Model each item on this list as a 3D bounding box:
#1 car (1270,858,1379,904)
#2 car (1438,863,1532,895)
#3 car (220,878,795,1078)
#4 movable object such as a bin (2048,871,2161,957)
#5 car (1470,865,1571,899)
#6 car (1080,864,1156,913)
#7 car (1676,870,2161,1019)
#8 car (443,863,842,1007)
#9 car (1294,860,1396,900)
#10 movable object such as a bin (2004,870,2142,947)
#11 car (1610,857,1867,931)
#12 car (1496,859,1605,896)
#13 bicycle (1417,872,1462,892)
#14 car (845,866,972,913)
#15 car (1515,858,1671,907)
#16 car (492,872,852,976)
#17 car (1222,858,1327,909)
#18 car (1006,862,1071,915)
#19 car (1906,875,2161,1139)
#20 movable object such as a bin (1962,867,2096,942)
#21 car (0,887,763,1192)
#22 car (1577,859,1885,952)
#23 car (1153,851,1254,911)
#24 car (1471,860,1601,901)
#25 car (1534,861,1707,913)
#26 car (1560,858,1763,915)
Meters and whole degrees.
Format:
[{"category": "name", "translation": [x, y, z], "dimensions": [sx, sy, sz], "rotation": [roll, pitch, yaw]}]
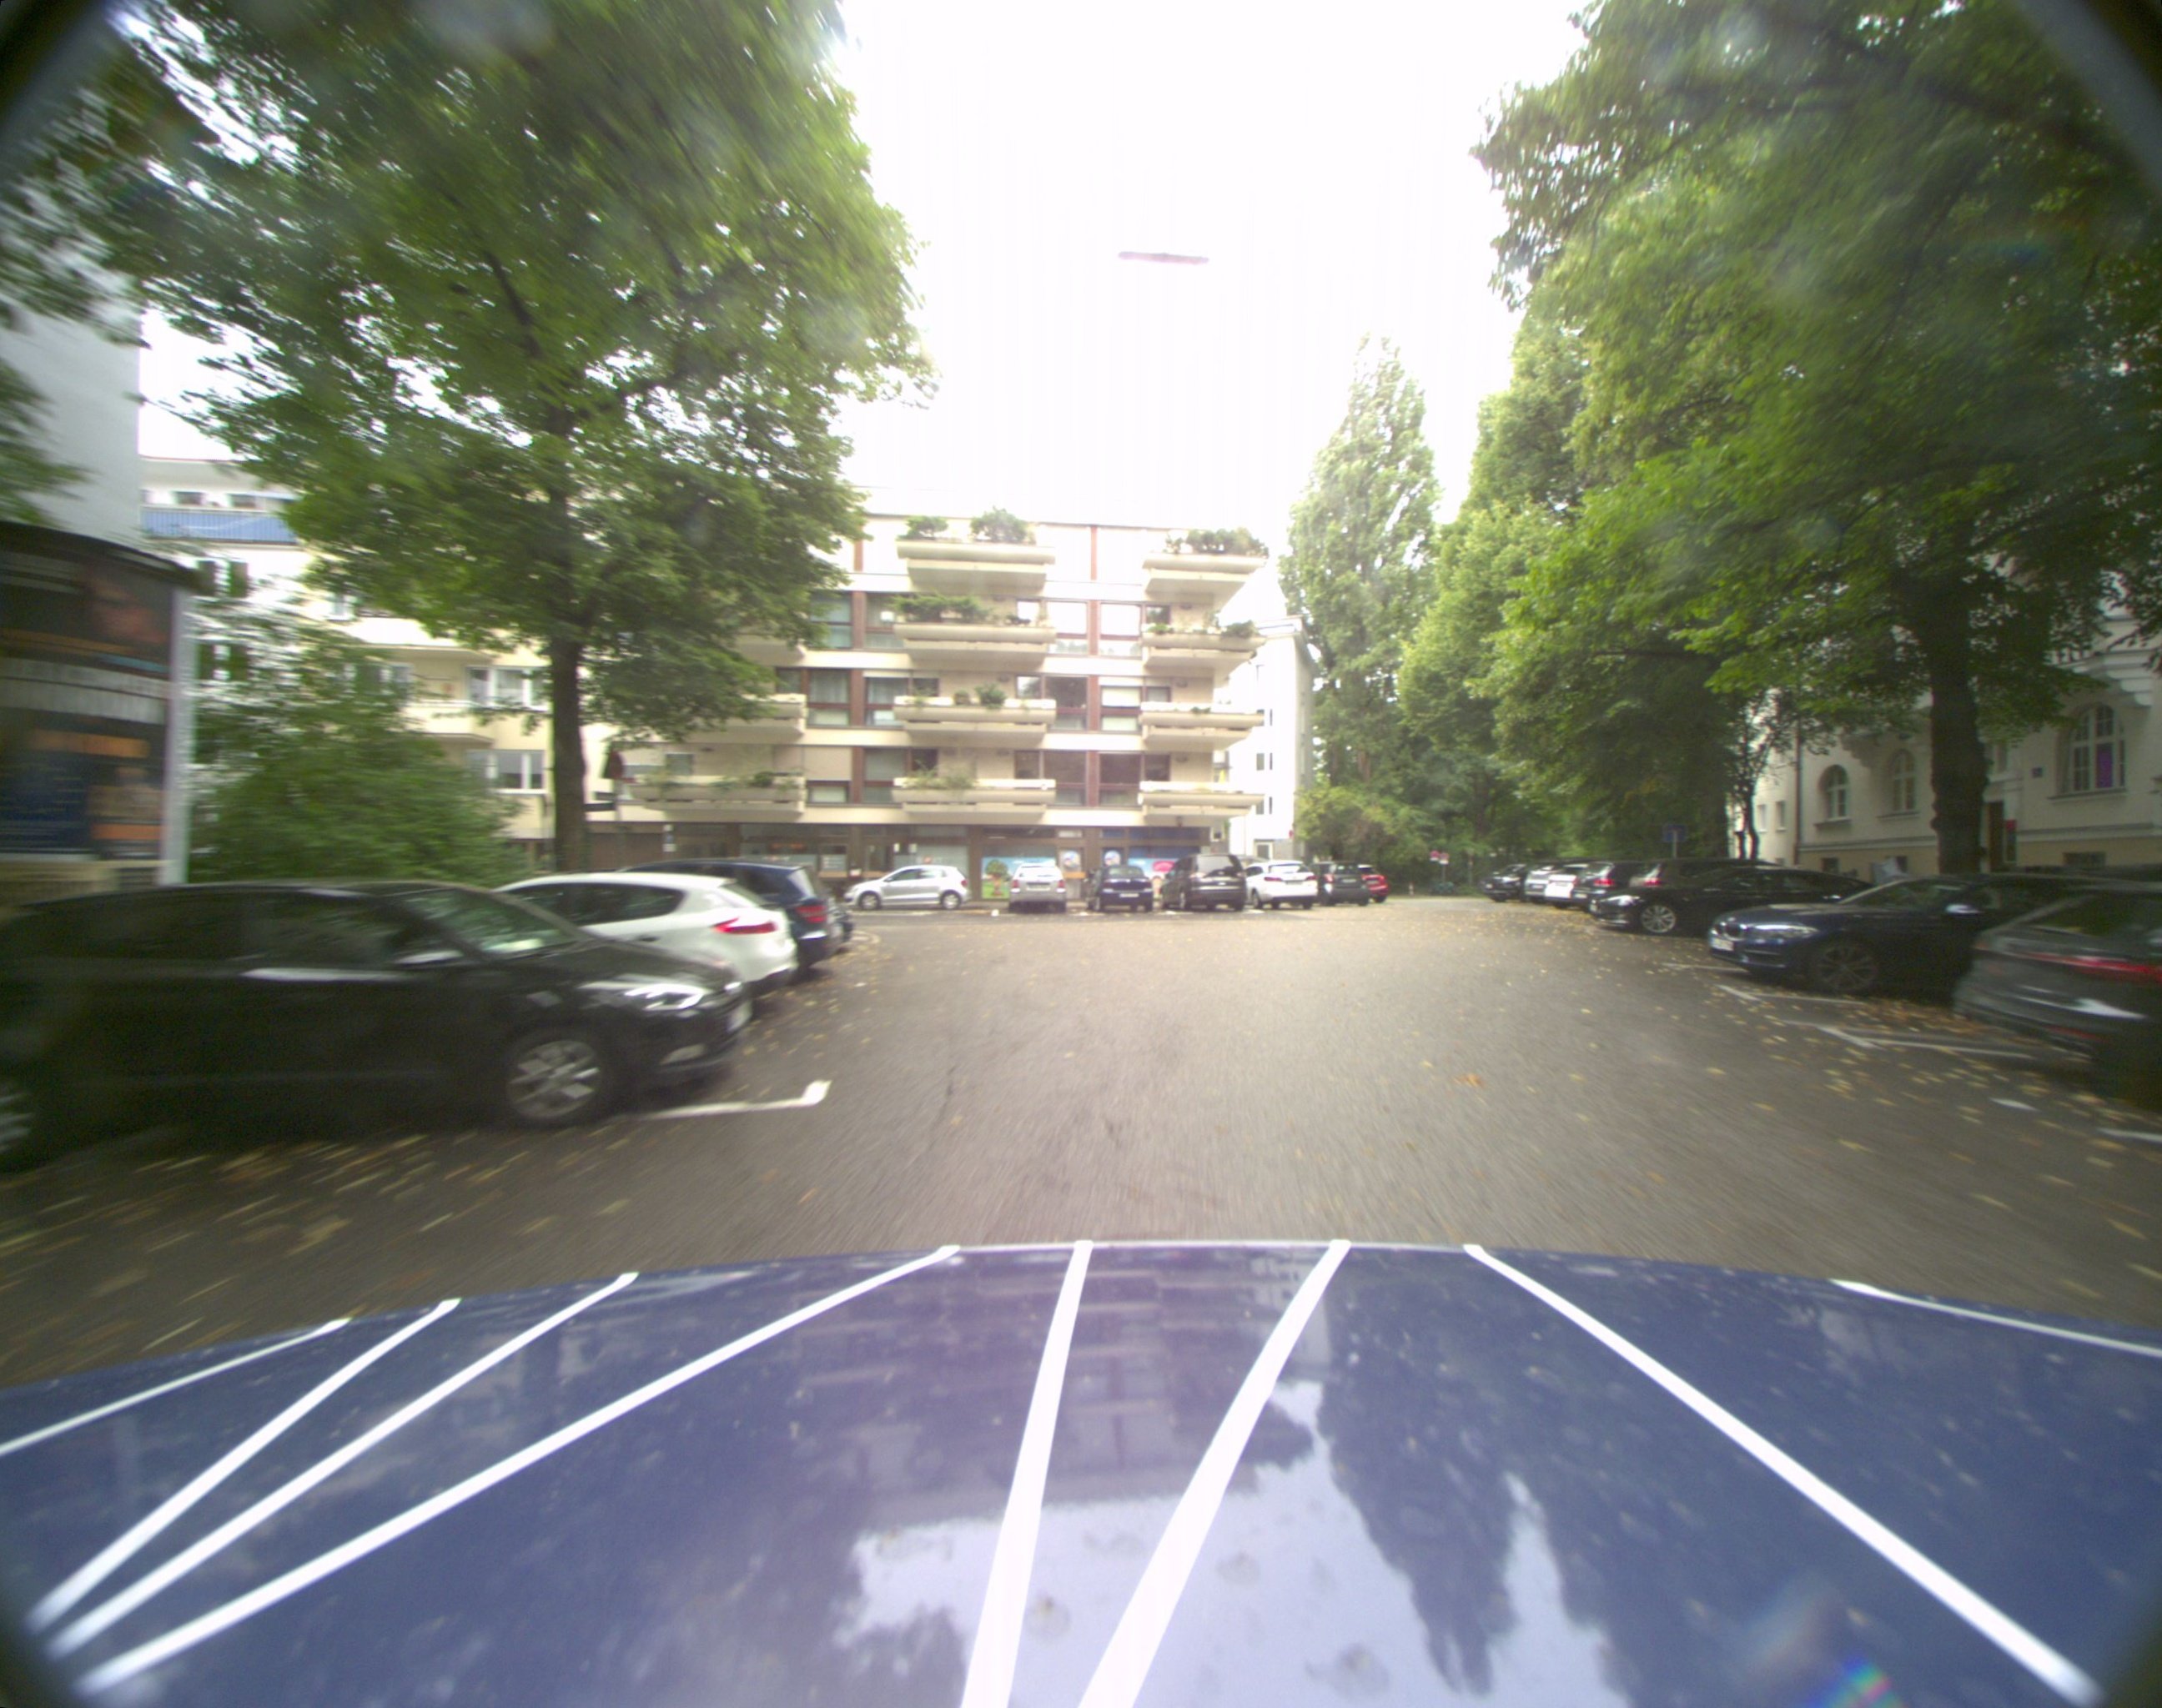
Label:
[{"category": "car", "translation": [8.403, 0.969, 26.620], "dimensions": [1.836, 1.470, 3.997], "rotation": [0, -3, -13]}, {"category": "car", "translation": [19.963, 1.188, 37.578], "dimensions": [4.002, 1.469, 1.721], "rotation": [0, 0, -16]}, {"category": "car", "translation": [-4.901, 0.995, 7.215], "dimensions": [3.951, 1.439, 1.824], "rotation": [0, 0, -16]}, {"category": "movable object such as a bin", "translation": [16.870, 0.942, 12.174], "dimensions": [1.429, 1.298, 0.866], "rotation": [0, 2, 19]}, {"category": "car", "translation": [20.294, 1.258, 35.128], "dimensions": [4.002, 1.469, 1.721], "rotation": [0, 0, -16]}, {"category": "car", "translation": [1.056, 1.072, 23.673], "dimensions": [1.717, 1.359, 4.071], "rotation": [0, -2, -7]}, {"category": "car", "translation": [9.870, 0.935, 8.766], "dimensions": [4.333, 1.375, 1.847], "rotation": [1, 0, 17]}, {"category": "car", "translation": [-5.192, 0.896, 9.580], "dimensions": [3.986, 1.546, 1.754], "rotation": [0, 0, -12]}, {"category": "car", "translation": [10.105, 0.962, 29.382], "dimensions": [1.757, 1.390, 3.994], "rotation": [0, 0, -15]}, {"category": "movable object such as a bin", "translation": [18.178, 0.964, 13.966], "dimensions": [1.370, 1.340, 0.716], "rotation": [0, 0, 21]}, {"category": "car", "translation": [14.742, 0.848, 17.310], "dimensions": [4.017, 1.521, 1.847], "rotation": [0, 0, 16]}, {"category": "car", "translation": [20.217, 0.972, 32.738], "dimensions": [4.002, 1.469, 1.721], "rotation": [0, 0, -16]}, {"category": "bicycle", "translation": [21.903, 1.698, 46.464], "dimensions": [2.464, 1.111, 0.827], "rotation": [0, 1, 25]}, {"category": "car", "translation": [-5.413, 1.111, 24.212], "dimensions": [3.833, 1.412, 1.565], "rotation": [0, -2, -8]}, {"category": "car", "translation": [16.845, 0.916, 25.118], "dimensions": [3.998, 1.501, 1.874], "rotation": [0, 0, -4]}, {"category": "car", "translation": [-6.153, 1.008, 12.139], "dimensions": [4.737, 1.369, 1.957], "rotation": [0, 0, -16]}, {"category": "car", "translation": [6.035, 0.964, 24.161], "dimensions": [1.835, 1.470, 3.999], "rotation": [0, -3, -8]}, {"category": "car", "translation": [-1.390, 1.074, 23.501], "dimensions": [1.721, 1.445, 4.241], "rotation": [0, -3, -7]}, {"category": "car", "translation": [8.054, 0.952, 4.289], "dimensions": [4.151, 1.417, 1.867], "rotation": [3, 1, 25]}, {"category": "movable object such as a bin", "translation": [17.935, 0.928, 14.421], "dimensions": [1.154, 1.341, 1.155], "rotation": [-1, 1, 19]}, {"category": "car", "translation": [-4.358, 0.954, 4.748], "dimensions": [4.096, 1.386, 1.733], "rotation": [0, 0, -11]}, {"category": "car", "translation": [12.580, 0.930, 15.105], "dimensions": [4.277, 1.459, 1.712], "rotation": [2, 2, 23]}, {"category": "car", "translation": [3.677, 0.859, 23.667], "dimensions": [1.902, 1.673, 4.232], "rotation": [0, -2, -8]}, {"category": "car", "translation": [16.619, 0.924, 27.797], "dimensions": [4.004, 1.393, 2.059], "rotation": [0, 0, -21]}, {"category": "car", "translation": [15.860, 0.934, 22.453], "dimensions": [3.998, 1.423, 1.723], "rotation": [0, 0, -4]}, {"category": "car", "translation": [15.197, 0.824, 20.049], "dimensions": [3.997, 1.423, 1.797], "rotation": [0, 0, 0]}]
